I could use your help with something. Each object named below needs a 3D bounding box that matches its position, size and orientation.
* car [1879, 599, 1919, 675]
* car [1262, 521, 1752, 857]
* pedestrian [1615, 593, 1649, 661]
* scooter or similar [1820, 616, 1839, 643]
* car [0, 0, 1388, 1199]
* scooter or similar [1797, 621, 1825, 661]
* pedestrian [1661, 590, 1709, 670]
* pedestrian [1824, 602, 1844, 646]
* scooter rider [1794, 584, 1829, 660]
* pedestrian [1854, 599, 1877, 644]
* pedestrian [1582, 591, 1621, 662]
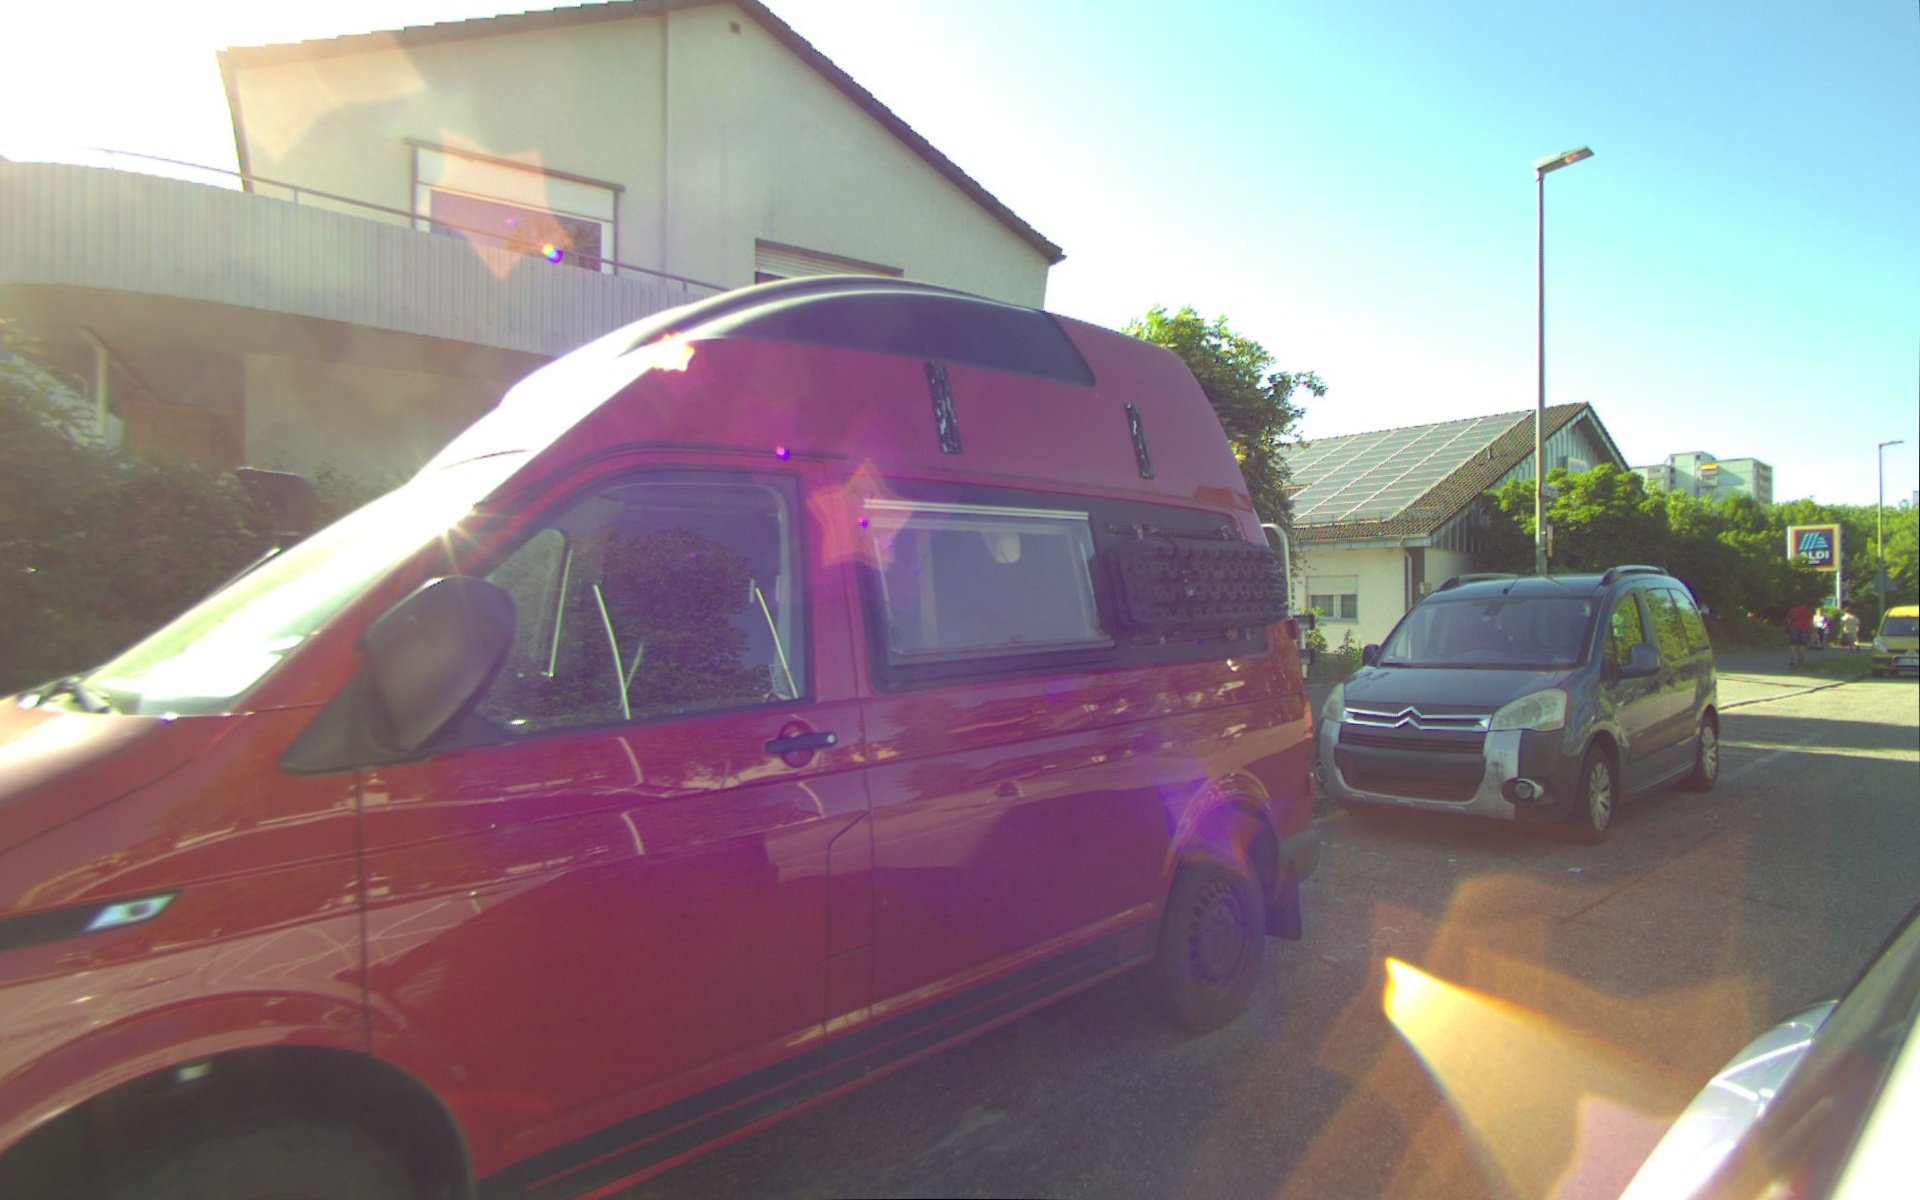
[{"bbox_3d":[24.226,0.889,25.142,3.912,1.799,1.620,1,-1,-41],"label":"car"},{"bbox_3d":[4.415,0.539,7.833,4.480,1.872,1.859,1,-3,-41],"label":"car"},{"bbox_3d":[15.940,0.634,24.016,0.655,1.551,0.446,1,3,-44],"label":"pedestrian"},{"bbox_3d":[35.438,1.200,41.223,0.826,1.092,0.478,1,-1,-41],"label":"scooter or similar"},{"bbox_3d":[-0.677,0.173,3.355,5.135,2.678,1.959,1,-1,-43],"label":"car"},{"bbox_3d":[23.581,1.119,28.042,0.456,1.043,1.033,5,3,43],"label":"scooter or similar"},{"bbox_3d":[16.133,0.652,22.515,0.881,1.709,0.634,1,3,-44],"label":"pedestrian"},{"bbox_3d":[36.034,0.966,41.734,0.579,1.791,0.541,1,-1,-41],"label":"pedestrian"},{"bbox_3d":[23.543,0.592,27.972,0.598,2.038,0.479,5,2,44],"label":"scooter rider"},{"bbox_3d":[36.784,0.875,41.114,0.671,1.791,0.580,0,-1,44],"label":"pedestrian"},{"bbox_3d":[15.675,0.634,24.731,0.632,1.684,0.583,1,3,-43],"label":"pedestrian"}]
